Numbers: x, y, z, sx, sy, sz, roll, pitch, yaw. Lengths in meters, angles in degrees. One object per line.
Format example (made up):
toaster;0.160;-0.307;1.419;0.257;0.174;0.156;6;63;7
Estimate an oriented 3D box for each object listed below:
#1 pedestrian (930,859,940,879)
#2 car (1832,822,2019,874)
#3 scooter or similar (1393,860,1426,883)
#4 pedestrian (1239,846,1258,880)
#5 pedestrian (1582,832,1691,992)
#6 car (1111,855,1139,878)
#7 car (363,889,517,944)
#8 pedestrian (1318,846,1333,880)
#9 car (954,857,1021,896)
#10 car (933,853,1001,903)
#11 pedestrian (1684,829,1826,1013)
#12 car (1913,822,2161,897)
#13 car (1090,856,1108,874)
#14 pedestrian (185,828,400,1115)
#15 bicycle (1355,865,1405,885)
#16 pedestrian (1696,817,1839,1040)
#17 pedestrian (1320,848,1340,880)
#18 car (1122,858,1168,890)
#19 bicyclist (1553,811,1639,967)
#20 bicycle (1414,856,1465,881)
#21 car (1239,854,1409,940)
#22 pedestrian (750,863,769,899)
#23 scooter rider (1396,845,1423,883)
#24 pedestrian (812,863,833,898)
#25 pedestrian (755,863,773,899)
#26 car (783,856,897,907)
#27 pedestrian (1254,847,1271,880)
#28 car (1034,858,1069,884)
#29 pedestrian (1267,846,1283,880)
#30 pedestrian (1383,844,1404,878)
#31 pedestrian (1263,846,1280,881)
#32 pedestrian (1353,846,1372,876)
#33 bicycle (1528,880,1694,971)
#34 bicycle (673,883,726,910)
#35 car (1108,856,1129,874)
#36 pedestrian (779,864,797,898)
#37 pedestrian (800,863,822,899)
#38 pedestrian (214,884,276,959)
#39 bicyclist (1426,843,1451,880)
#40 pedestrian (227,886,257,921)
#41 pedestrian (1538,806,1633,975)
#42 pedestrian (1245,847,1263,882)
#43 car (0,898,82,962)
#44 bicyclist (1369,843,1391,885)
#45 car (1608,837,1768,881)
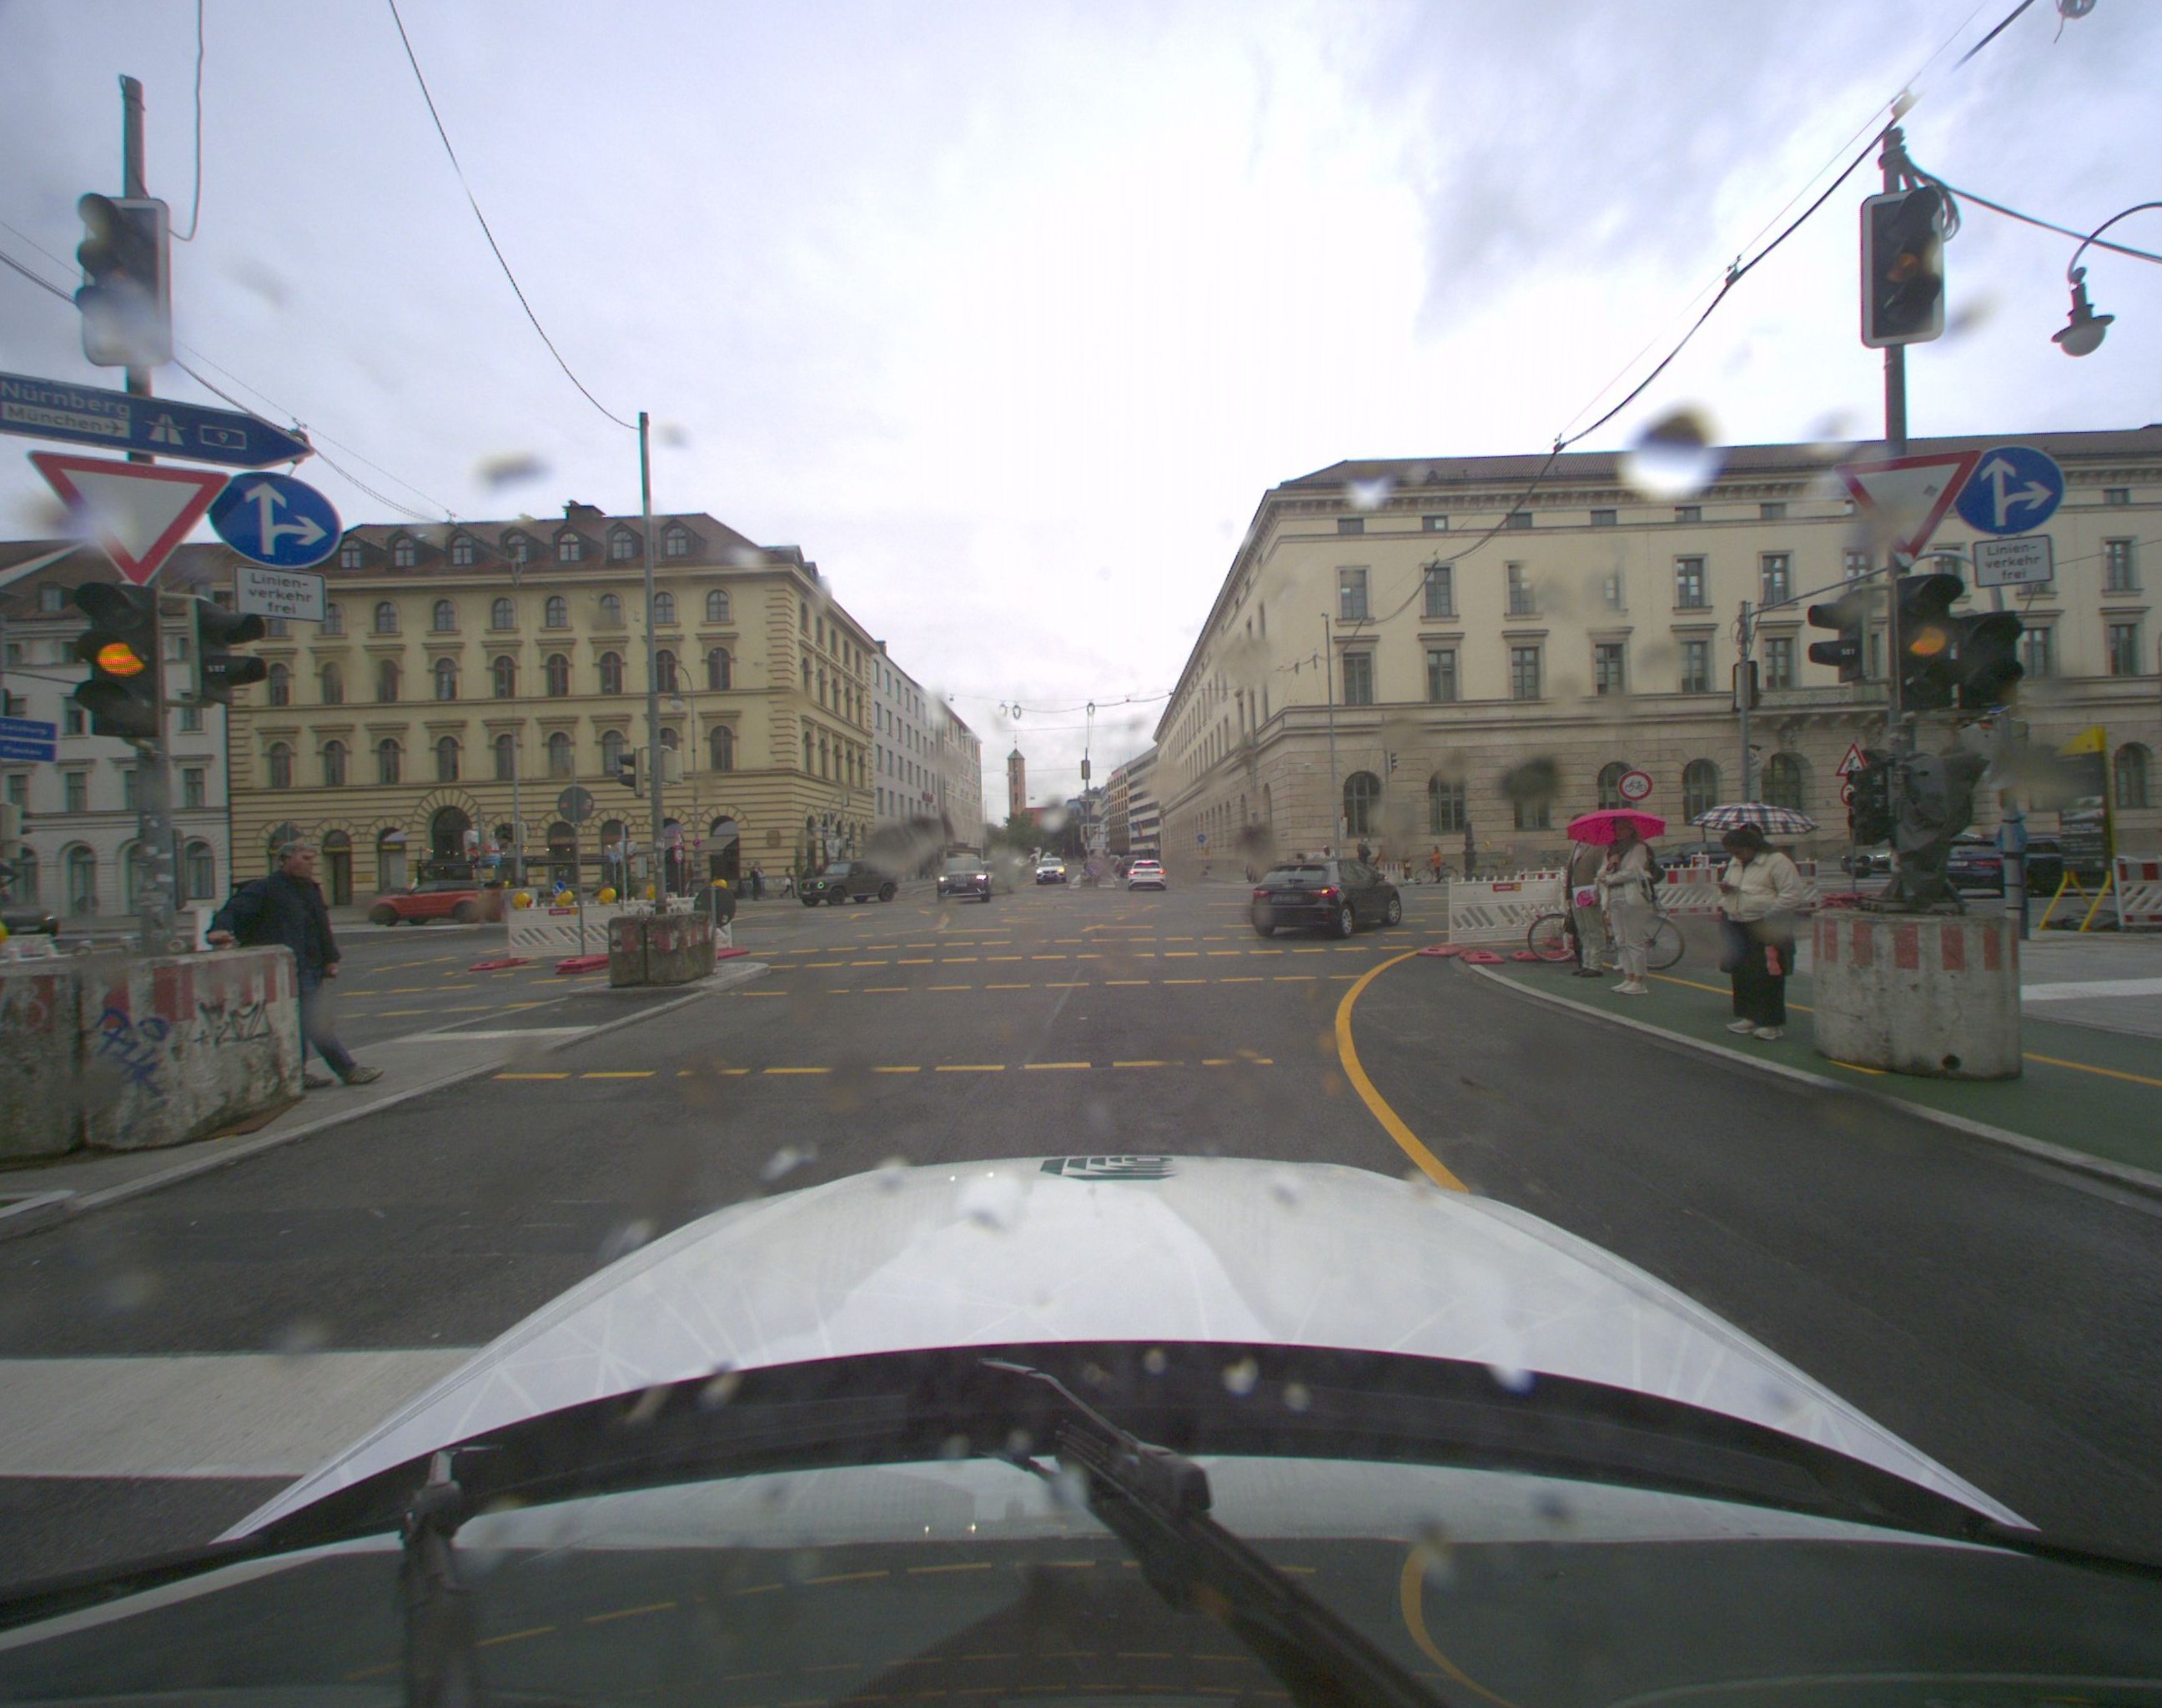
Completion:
pedestrian;-13.081;1.314;72.768;0.734;1.772;0.736;-1;0;0
car;29.076;-0.168;28.135;4.546;1.567;1.791;-2;-2;0
scooter or similar;14.183;0.760;35.160;1.206;0.965;0.588;-1;0;2
pedestrian;8.818;0.485;42.888;0.822;1.755;0.580;-1;0;-30
pedestrian;5.625;0.569;8.275;0.699;1.567;0.584;-1;0;3
car;3.305;0.924;61.168;1.859;1.601;3.850;-2;0;0
car;-23.389;2.259;29.867;3.988;1.720;1.817;-2;0;-11
pedestrian;12.255;0.442;40.836;0.612;1.671;0.543;-1;0;8
car;-4.414;1.059;39.286;1.780;1.677;4.249;-2;0;14
car;-4.313;0.872;31.523;1.989;1.734;4.582;-2;0;-1
pedestrian;6.032;0.574;7.324;0.699;1.567;0.682;-1;0;3
car;22.487;0.124;19.174;3.972;1.617;1.775;-1;0;1
car;2.105;1.230;96.464;1.987;2.013;4.000;-2;0;0
pedestrian;-5.287;0.718;5.536;0.512;1.743;1.040;-2;0;-9
bicycle;13.351;0.941;36.369;1.963;0.879;0.662;-1;0;3
pedestrian;5.262;0.547;6.280;0.529;1.620;0.674;-1;0;3
pedestrian;12.272;0.504;40.104;0.812;1.557;0.669;-1;0;8
car;3.036;0.904;39.367;1.808;1.424;4.450;0;0;-1
bicyclist;6.418;0.414;10.156;0.789;1.854;0.571;-1;-1;42
bicycle;15.913;0.643;36.174;1.950;1.040;0.796;-1;0;3
car;4.790;0.724;15.683;1.845;1.388;4.026;-1;0;37
pedestrian;-16.012;1.346;40.582;0.734;1.772;0.737;-1;0;-10
scooter rider;14.179;0.427;35.158;0.929;1.622;0.593;-1;0;2
pedestrian;-13.389;1.368;42.163;0.727;1.772;0.743;-1;0;21
pedestrian;-16.088;1.371;41.338;0.734;1.772;0.737;-1;0;-10
car;-10.574;1.161;36.056;2.216;2.013;4.478;-2;0;31
pedestrian;9.682;0.498;43.406;0.811;1.755;0.588;-1;0;15
car;-1.854;1.038;51.636;1.987;1.524;4.232;-2;0;0
pedestrian;10.130;0.472;42.525;0.578;1.755;0.825;-1;0;32
pedestrian;15.843;0.337;41.316;0.712;1.694;0.820;-1;0;2
pedestrian;9.767;0.483;41.728;0.578;1.755;0.825;-1;0;32
pedestrian;14.466;0.351;41.861;0.662;1.527;0.820;-1;0;2
bicycle;6.515;0.841;10.068;1.635;1.011;0.590;-1;0;43
bicycle;-17.754;1.963;37.963;2.202;1.099;0.595;-2;-1;-24
car;3.592;1.035;78.378;1.859;1.601;3.850;-2;0;0
pedestrian;-15.324;1.399;42.627;0.739;1.772;0.731;-1;0;-33
pedestrian;-13.730;1.365;41.473;0.727;1.772;0.764;-1;0;21
pedestrian;-20.393;1.625;19.880;0.734;1.772;0.736;-1;0;2
bicyclist;15.877;0.351;36.172;0.740;1.615;0.796;-1;0;3
pedestrian;-43.742;2.553;42.467;0.731;1.772;0.739;-2;-1;0
pedestrian;5.799;0.410;9.398;0.699;1.885;0.642;-1;0;5
pedestrian;8.774;0.526;41.331;0.811;1.755;0.683;-1;0;17
car;-31.717;2.204;23.203;3.974;1.684;2.000;-2;0;0
bicyclist;13.342;0.438;36.376;0.740;1.842;0.661;-1;0;3
car;20.879;0.198;28.142;4.212;1.388;1.749;-1;-2;0
